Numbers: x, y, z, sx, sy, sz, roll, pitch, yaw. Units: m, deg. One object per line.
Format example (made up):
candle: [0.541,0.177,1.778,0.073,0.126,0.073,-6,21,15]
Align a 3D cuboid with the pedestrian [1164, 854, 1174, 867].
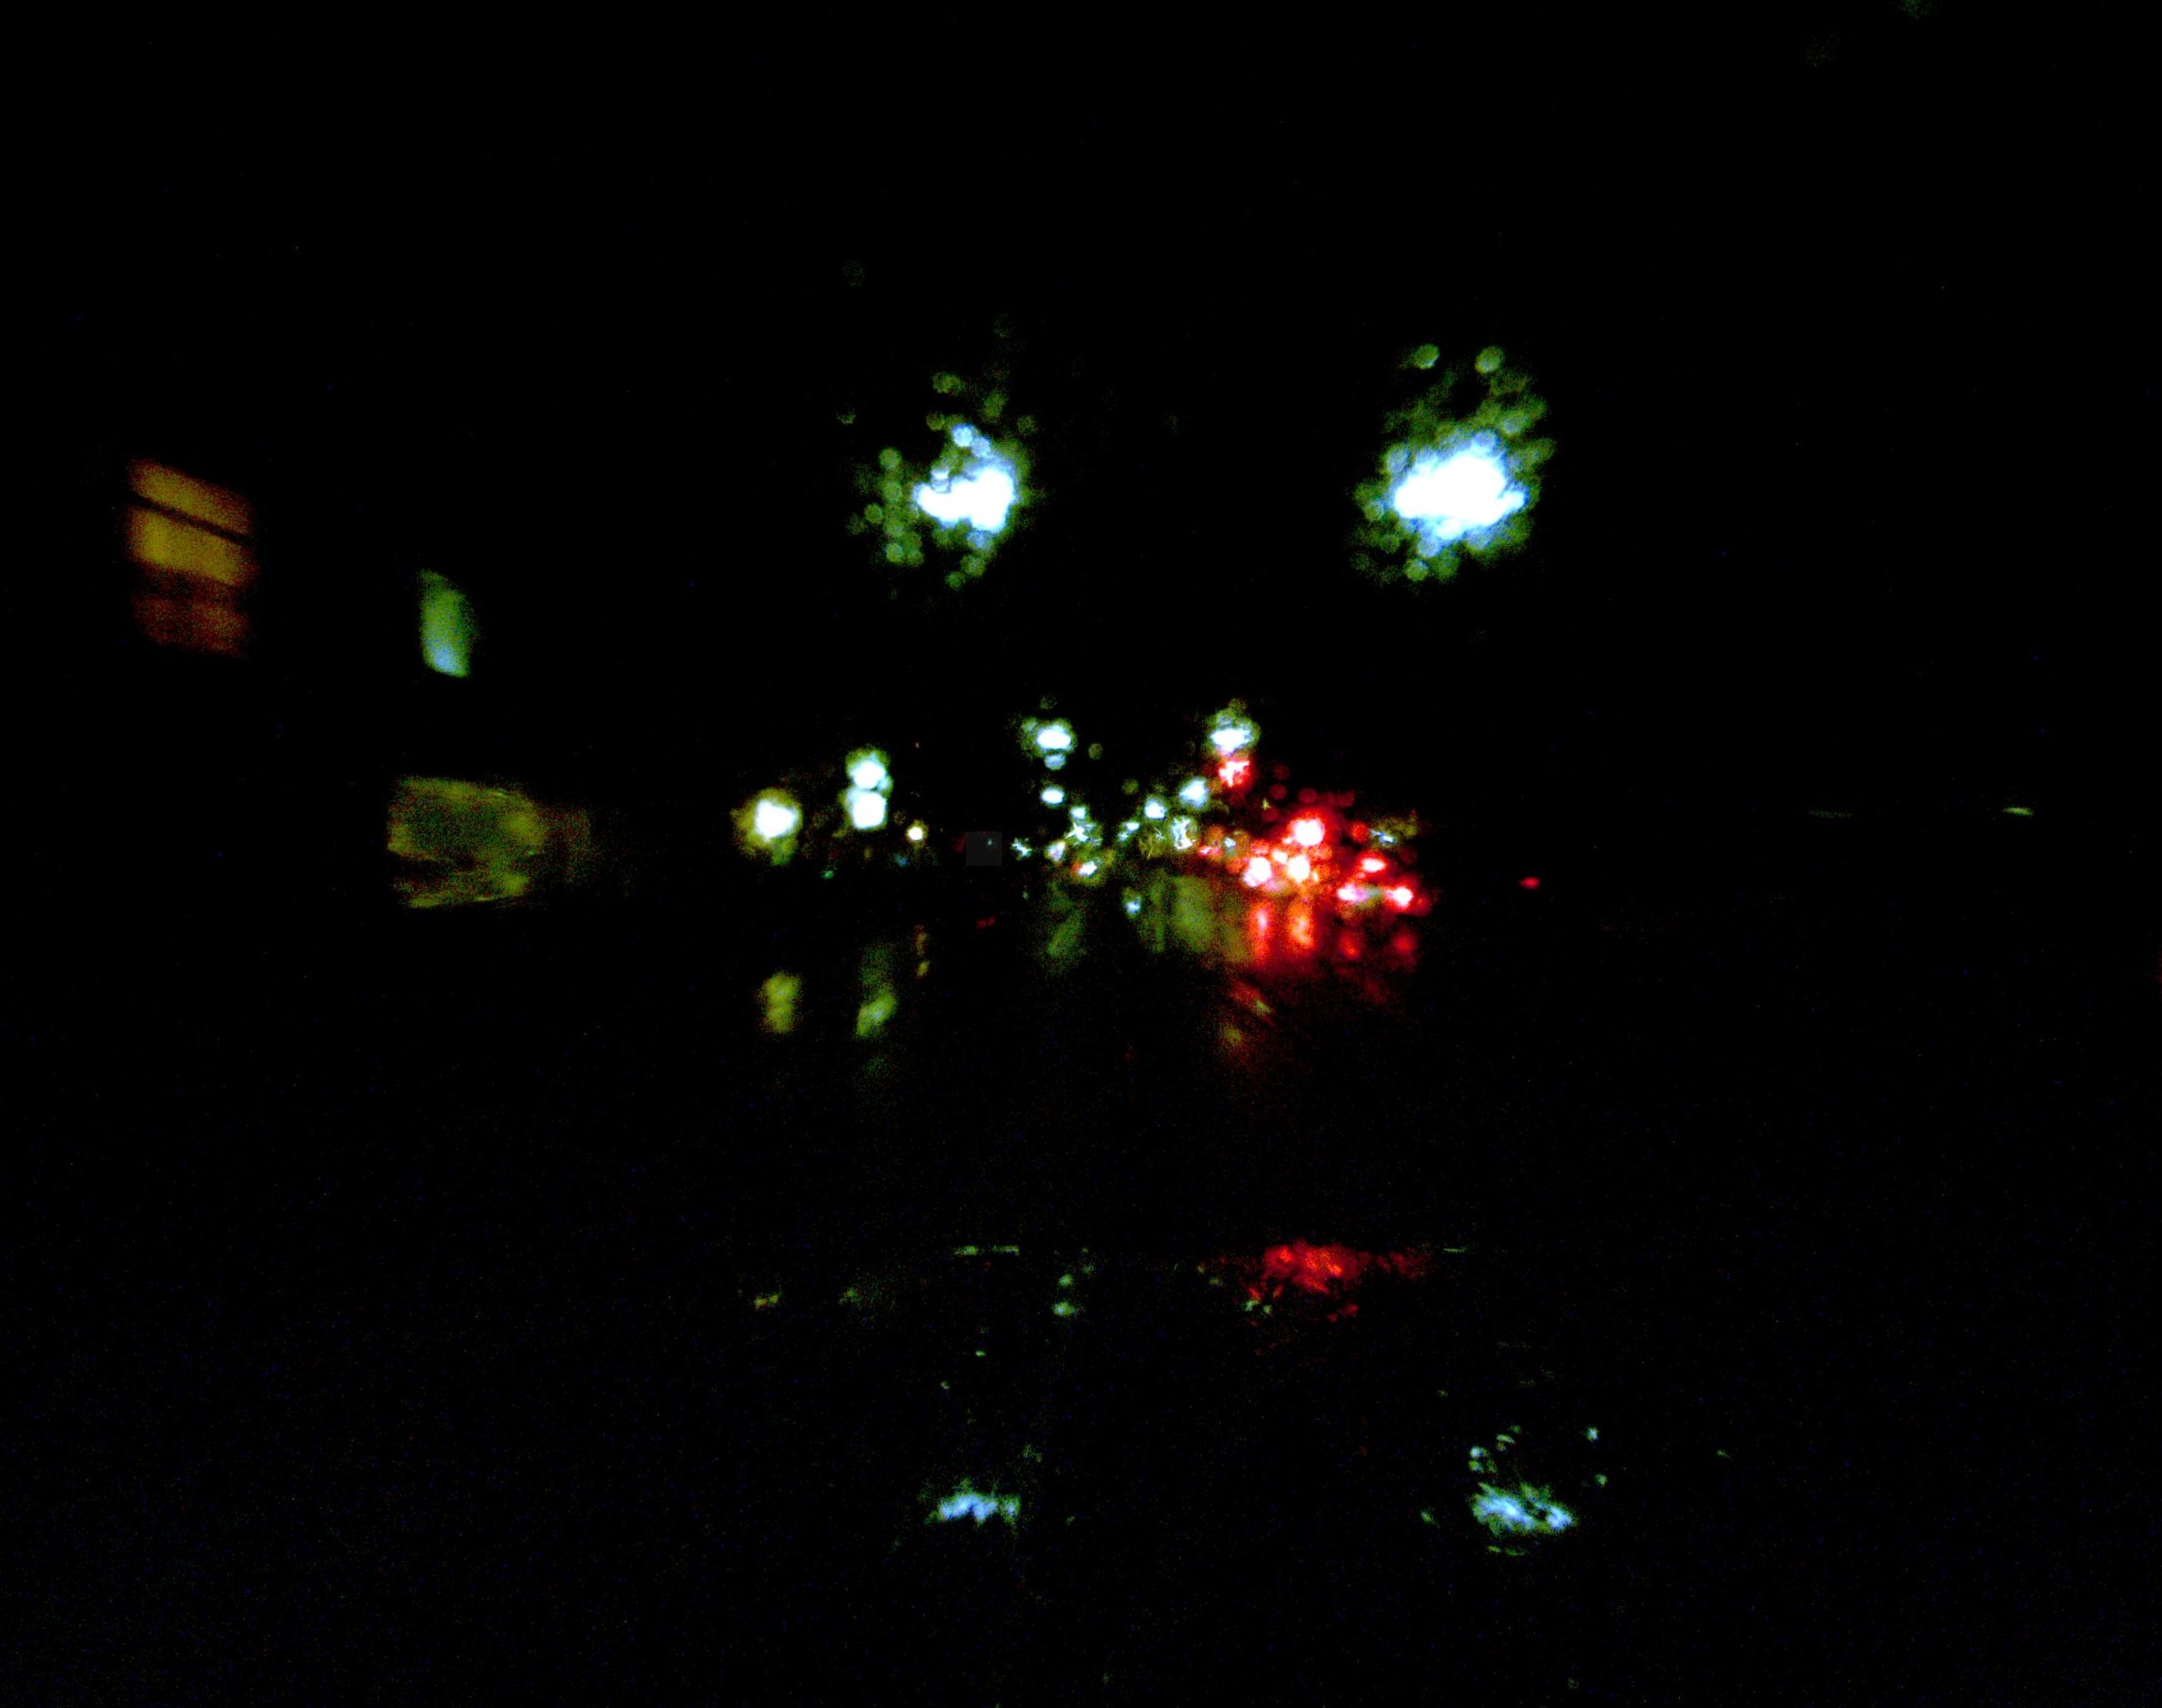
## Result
pedestrian: [8.729,0.683,75.461,0.586,1.246,0.623,-5,2,-42]

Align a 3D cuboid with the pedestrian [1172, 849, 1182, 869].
pedestrian: [8.936,0.486,70.854,0.716,1.764,0.671,-4,2,4]

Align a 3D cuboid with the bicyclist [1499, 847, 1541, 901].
bicyclist: [12.334,0.551,21.373,0.656,1.457,0.868,-4,1,4]

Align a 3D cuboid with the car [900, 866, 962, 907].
car: [-6.012,1.271,30.909,1.649,1.433,4.055,2,0,1]

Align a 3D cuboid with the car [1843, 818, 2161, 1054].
car: [9.599,0.616,5.878,1.998,1.815,5.309,-5,-1,1]

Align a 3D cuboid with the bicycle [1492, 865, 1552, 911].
bicycle: [12.358,0.935,21.364,0.656,1.135,1.898,-4,1,5]

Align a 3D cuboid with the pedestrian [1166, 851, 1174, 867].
pedestrian: [8.943,0.501,76.474,0.480,1.519,0.585,-4,2,-16]

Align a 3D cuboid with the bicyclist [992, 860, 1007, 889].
bicyclist: [-4.488,1.094,41.758,0.572,1.539,0.815,-4,1,-18]

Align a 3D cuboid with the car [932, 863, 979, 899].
car: [-5.897,1.231,36.135,1.652,1.516,3.580,2,0,-1]

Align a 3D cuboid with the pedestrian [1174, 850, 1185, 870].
pedestrian: [8.934,0.541,68.804,0.671,1.764,0.716,-4,2,-8]

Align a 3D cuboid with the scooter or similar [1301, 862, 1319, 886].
scooter or similar: [11.166,0.965,37.071,0.641,1.046,1.370,-4,1,12]

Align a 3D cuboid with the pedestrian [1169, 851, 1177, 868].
pedestrian: [8.952,0.503,74.114,0.400,1.620,0.531,-5,2,-42]

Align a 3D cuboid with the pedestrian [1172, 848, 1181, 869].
pedestrian: [9.148,0.405,72.630,0.609,1.975,0.858,-4,1,-1]

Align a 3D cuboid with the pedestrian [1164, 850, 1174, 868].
pedestrian: [8.662,0.495,74.713,0.586,1.642,0.558,-5,2,-42]

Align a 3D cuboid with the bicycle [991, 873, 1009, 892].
bicycle: [-4.463,1.572,41.769,0.572,0.964,1.778,-4,1,-18]

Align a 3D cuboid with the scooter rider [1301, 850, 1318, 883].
scooter rider: [11.151,0.591,37.119,0.641,1.564,0.653,-4,2,12]

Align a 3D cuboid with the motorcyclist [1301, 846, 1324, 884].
motorcyclist: [10.591,0.488,34.817,0.709,1.721,1.028,0,1,-1]

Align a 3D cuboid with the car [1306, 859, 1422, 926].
car: [6.974,0.897,19.133,1.796,1.456,3.903,-2,0,6]

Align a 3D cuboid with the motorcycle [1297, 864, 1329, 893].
motorcycle: [10.589,1.085,34.790,0.709,1.223,2.325,0,1,-1]

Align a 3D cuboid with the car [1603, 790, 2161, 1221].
car: [5.702,0.664,4.668,1.930,1.868,4.638,0,0,2]

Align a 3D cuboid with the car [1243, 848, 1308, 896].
car: [8.041,0.701,31.871,1.899,1.858,4.537,0,1,5]

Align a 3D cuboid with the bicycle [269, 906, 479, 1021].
bicycle: [-7.723,1.189,8.339,1.818,1.157,0.493,1,1,-1]
